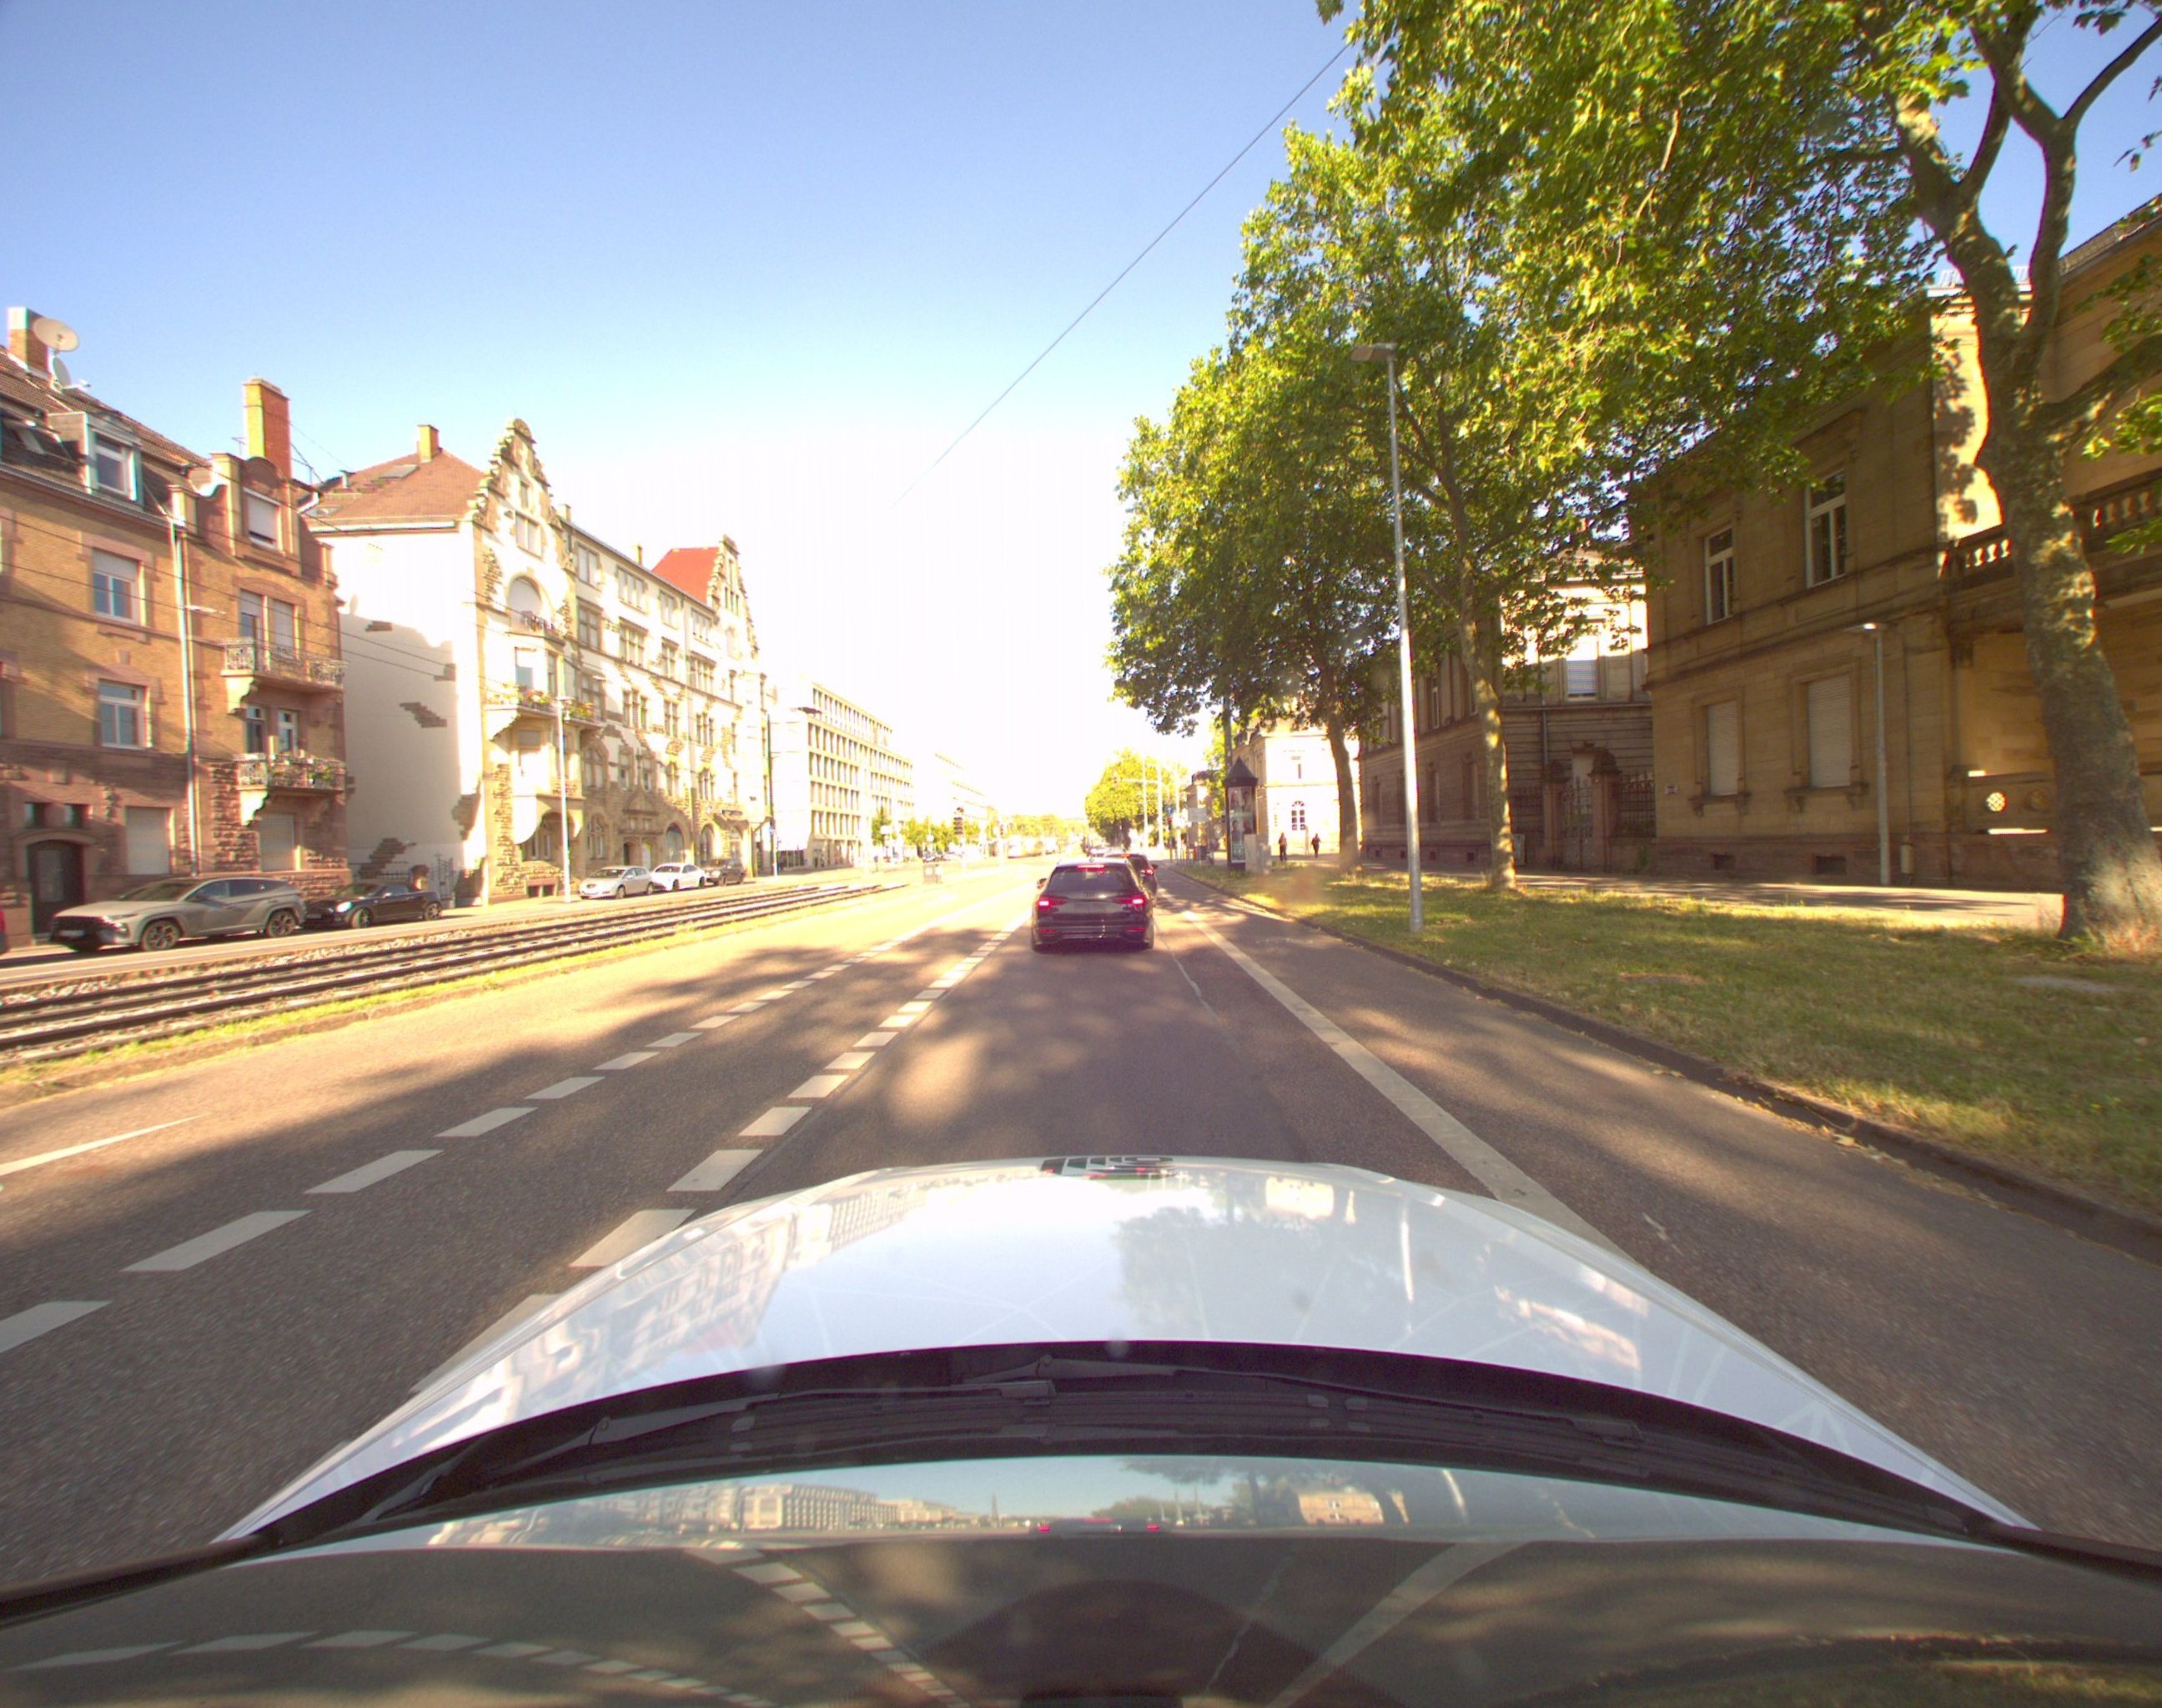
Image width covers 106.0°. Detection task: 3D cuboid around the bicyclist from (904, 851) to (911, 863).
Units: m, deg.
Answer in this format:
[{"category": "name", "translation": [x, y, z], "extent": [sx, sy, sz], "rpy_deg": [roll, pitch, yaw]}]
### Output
[{"category": "bicyclist", "translation": [-23.102, 0.421, 108.569], "extent": [0.682, 1.562, 0.786], "rpy_deg": [-3, 0, 2]}]

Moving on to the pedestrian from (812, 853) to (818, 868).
[{"category": "pedestrian", "translation": [-32.536, 0.793, 99.653], "extent": [0.475, 1.843, 0.438], "rpy_deg": [-3, 0, -37]}]

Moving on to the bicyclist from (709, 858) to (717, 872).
[{"category": "bicyclist", "translation": [-45.098, 1.398, 99.735], "extent": [0.639, 1.686, 0.577], "rpy_deg": [-3, 0, 1]}]

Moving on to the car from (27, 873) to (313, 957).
[{"category": "car", "translation": [-21.819, 1.379, 19.858], "extent": [1.850, 1.622, 4.503], "rpy_deg": [1, 1, 1]}]

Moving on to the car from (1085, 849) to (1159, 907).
[{"category": "car", "translation": [1.140, 0.612, 23.292], "extent": [1.895, 1.486, 4.146], "rpy_deg": [-1, 0, 2]}]

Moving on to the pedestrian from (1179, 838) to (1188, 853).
[{"category": "pedestrian", "translation": [13.126, -1.137, 103.964], "extent": [0.976, 1.865, 0.827], "rpy_deg": [-2, 0, 0]}]

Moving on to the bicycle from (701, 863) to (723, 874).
[{"category": "bicycle", "translation": [-45.211, 1.773, 99.728], "extent": [2.373, 1.215, 0.577], "rpy_deg": [-3, 0, 0]}]

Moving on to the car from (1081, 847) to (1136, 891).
[{"category": "car", "translation": [1.034, 0.492, 30.380], "extent": [1.895, 1.486, 4.146], "rpy_deg": [-1, 0, 2]}]

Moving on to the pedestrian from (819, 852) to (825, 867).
[{"category": "pedestrian", "translation": [-31.786, 0.679, 99.900], "extent": [0.535, 1.843, 0.438], "rpy_deg": [-3, 0, -37]}]

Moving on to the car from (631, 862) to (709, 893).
[{"category": "car", "translation": [-21.518, 1.203, 42.845], "extent": [1.711, 1.423, 4.655], "rpy_deg": [0, 1, 0]}]

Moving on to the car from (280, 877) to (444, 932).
[{"category": "car", "translation": [-21.654, 1.472, 24.727], "extent": [1.617, 1.354, 3.727], "rpy_deg": [1, 1, 1]}]

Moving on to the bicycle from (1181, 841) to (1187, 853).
[{"category": "bicycle", "translation": [10.396, -0.723, 82.336], "extent": [0.433, 1.145, 1.340], "rpy_deg": [-2, 1, 0]}]

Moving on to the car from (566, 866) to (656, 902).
[{"category": "car", "translation": [-21.396, 1.312, 37.273], "extent": [1.704, 1.430, 4.222], "rpy_deg": [0, 1, -1]}]

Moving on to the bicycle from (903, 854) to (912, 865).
[{"category": "bicycle", "translation": [-23.153, 0.768, 108.590], "extent": [0.682, 1.381, 1.948], "rpy_deg": [-3, 0, 3]}]

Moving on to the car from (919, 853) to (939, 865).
[{"category": "car", "translation": [-20.068, 0.602, 107.947], "extent": [1.814, 1.457, 4.165], "rpy_deg": [-3, 0, -1]}]

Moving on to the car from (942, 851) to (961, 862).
[{"category": "car", "translation": [-19.193, 0.398, 120.927], "extent": [1.812, 1.457, 4.545], "rpy_deg": [-3, 0, 3]}]

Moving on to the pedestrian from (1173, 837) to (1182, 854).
[{"category": "pedestrian", "translation": [9.766, -0.889, 82.319], "extent": [0.680, 1.660, 0.758], "rpy_deg": [-2, 0, -1]}]

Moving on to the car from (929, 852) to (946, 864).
[{"category": "car", "translation": [-23.100, 0.674, 131.046], "extent": [1.835, 1.812, 4.113], "rpy_deg": [-3, 0, 1]}]

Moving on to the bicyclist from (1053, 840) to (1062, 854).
[{"category": "bicyclist", "translation": [-3.004, -0.890, 104.998], "extent": [0.763, 1.818, 0.755], "rpy_deg": [-3, 1, -41]}]

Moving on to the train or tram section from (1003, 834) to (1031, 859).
[{"category": "train or tram section", "translation": [-9.788, -1.196, 126.591], "extent": [2.802, 3.489, 13.209], "rpy_deg": [-2, 1, 2]}]

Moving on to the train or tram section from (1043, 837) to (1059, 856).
[{"category": "train or tram section", "translation": [-5.733, -1.490, 157.037], "extent": [2.600, 3.450, 11.130], "rpy_deg": [-2, 1, 0]}]

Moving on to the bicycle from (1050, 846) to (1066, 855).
[{"category": "bicycle", "translation": [-3.002, -0.425, 104.994], "extent": [2.023, 1.108, 0.755], "rpy_deg": [-3, 1, -42]}]

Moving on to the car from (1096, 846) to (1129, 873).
[{"category": "car", "translation": [1.869, 0.287, 48.452], "extent": [1.895, 1.486, 4.146], "rpy_deg": [-1, 0, 2]}]

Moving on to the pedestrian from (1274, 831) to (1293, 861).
[{"category": "pedestrian", "translation": [11.586, -0.458, 46.640], "extent": [0.766, 1.709, 1.043], "rpy_deg": [-3, 0, 3]}]

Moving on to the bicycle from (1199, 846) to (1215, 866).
[{"category": "bicycle", "translation": [6.924, 0.107, 44.867], "extent": [0.538, 1.061, 1.770], "rpy_deg": [-3, 1, -2]}]

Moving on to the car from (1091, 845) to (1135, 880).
[{"category": "car", "translation": [1.507, 0.370, 38.306], "extent": [1.895, 1.486, 4.146], "rpy_deg": [-1, 0, 2]}]

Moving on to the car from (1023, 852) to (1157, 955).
[{"category": "car", "translation": [0.199, 0.707, 13.760], "extent": [1.895, 1.421, 4.146], "rpy_deg": [-1, 0, 2]}]

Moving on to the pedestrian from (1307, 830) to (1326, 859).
[{"category": "pedestrian", "translation": [13.423, -0.543, 46.357], "extent": [0.766, 1.606, 0.987], "rpy_deg": [-3, 0, 3]}]

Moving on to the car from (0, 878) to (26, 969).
[{"category": "car", "translation": [-21.970, 1.369, 13.954], "extent": [1.877, 1.758, 4.423], "rpy_deg": [1, 1, 4]}]

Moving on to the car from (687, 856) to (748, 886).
[{"category": "car", "translation": [-21.466, 0.968, 48.259], "extent": [1.711, 1.675, 4.216], "rpy_deg": [0, 1, 0]}]
